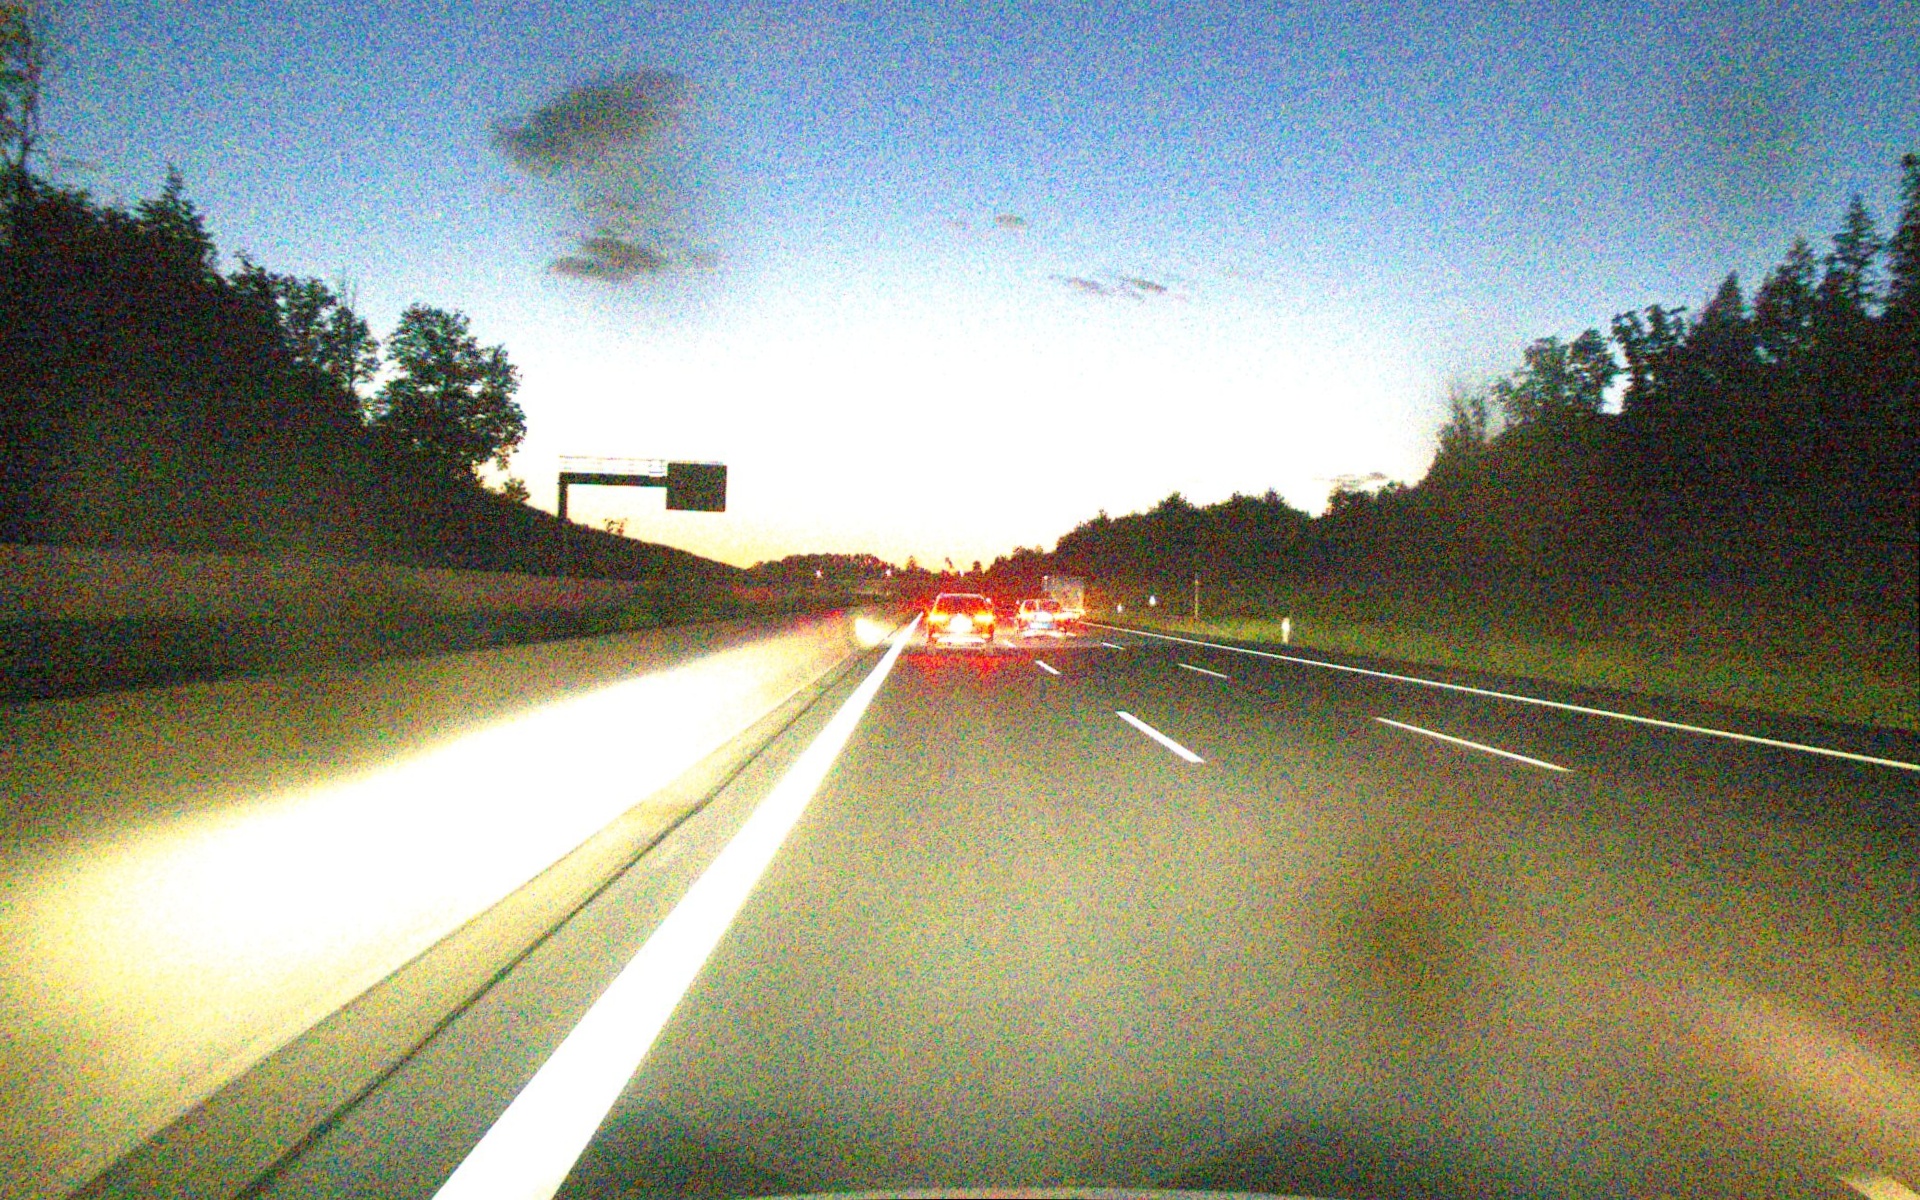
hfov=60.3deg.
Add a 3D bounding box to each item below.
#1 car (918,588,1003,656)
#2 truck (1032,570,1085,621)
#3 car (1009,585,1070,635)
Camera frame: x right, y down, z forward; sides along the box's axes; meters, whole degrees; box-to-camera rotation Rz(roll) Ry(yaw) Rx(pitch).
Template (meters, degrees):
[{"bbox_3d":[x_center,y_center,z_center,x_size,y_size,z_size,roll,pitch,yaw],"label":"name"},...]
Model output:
[{"bbox_3d":[-0.045,0.564,44.226,2.063,1.646,4.202,2,0,-2],"label":"car"},{"bbox_3d":[6.338,-0.295,107.624,2.551,2.924,7.483,5,0,-2],"label":"truck"},{"bbox_3d":[2.934,0.366,61.619,1.873,1.760,3.998,1,0,-3],"label":"car"}]
